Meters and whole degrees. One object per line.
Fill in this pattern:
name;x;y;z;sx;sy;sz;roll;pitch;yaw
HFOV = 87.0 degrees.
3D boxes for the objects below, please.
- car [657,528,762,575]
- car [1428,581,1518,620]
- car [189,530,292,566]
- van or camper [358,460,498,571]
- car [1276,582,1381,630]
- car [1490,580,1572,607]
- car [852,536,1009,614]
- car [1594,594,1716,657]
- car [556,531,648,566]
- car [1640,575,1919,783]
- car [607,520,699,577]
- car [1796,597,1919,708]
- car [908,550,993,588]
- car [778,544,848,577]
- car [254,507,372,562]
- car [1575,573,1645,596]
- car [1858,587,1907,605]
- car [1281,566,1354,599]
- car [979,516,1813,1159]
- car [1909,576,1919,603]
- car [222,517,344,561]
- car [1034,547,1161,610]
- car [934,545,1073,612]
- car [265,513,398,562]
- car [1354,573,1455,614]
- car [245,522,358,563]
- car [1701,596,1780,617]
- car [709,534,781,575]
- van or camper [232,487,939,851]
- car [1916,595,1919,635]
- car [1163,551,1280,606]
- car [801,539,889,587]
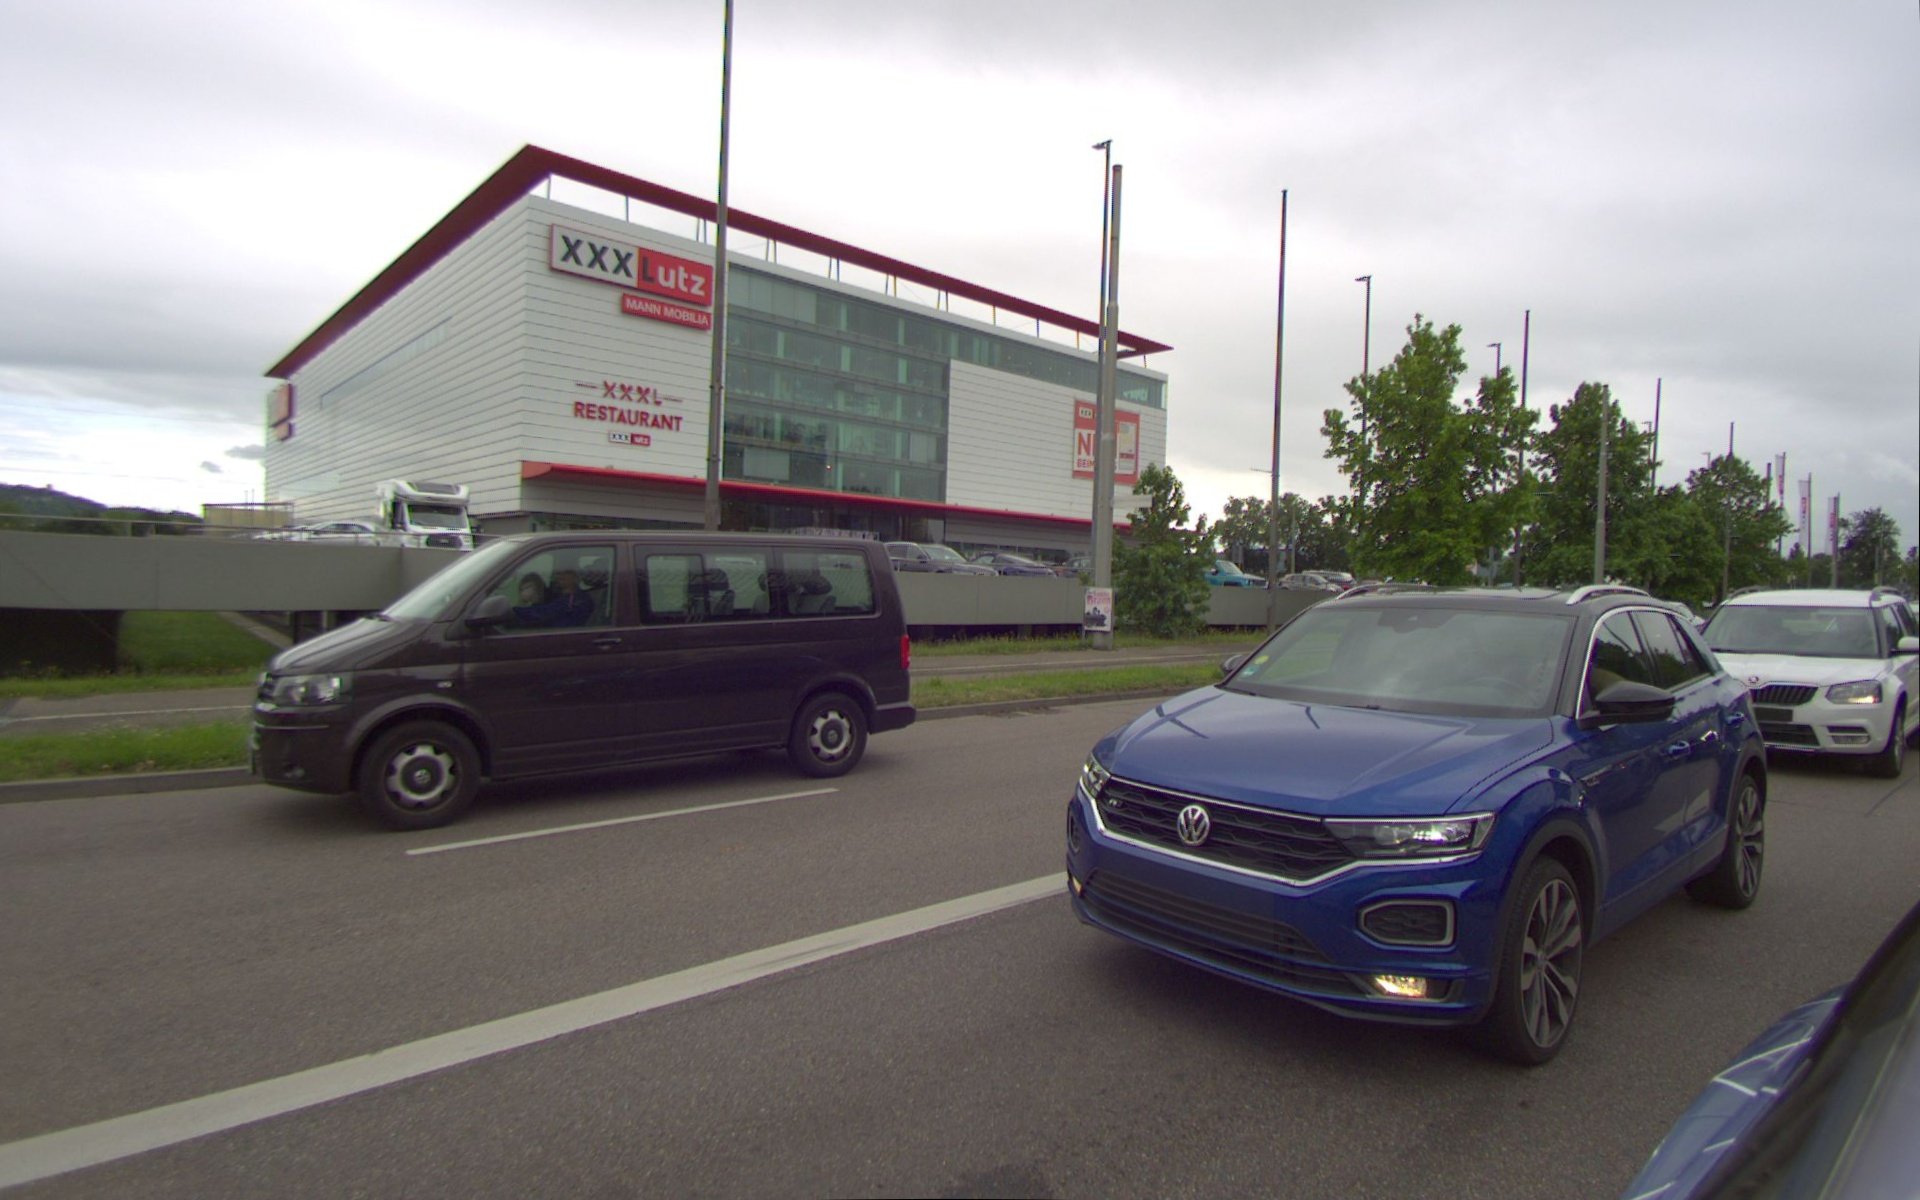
car;-8.719;-1.645;35.066;1.839;1.455;3.984;-1;1;-44
car;28.062;0.015;55.425;1.965;2.039;3.994;0;0;-41
car;-36.770;-2.629;51.783;4.185;1.697;1.774;-1;0;-41
van or camper;-17.990;-2.637;33.958;2.667;3.175;7.226;0;0;-40
car;16.418;0.229;45.190;1.966;2.039;3.991;0;0;-42
car;35.035;-0.412;62.154;1.765;1.585;3.994;-1;0;-40
car;-0.910;-0.672;28.658;1.967;2.039;4.522;0;0;-43
car;17.175;0.567;24.947;3.860;1.389;1.691;-1;1;-43
car;-18.712;-2.663;53.019;4.185;1.697;1.774;-1;0;-41
car;8.510;0.598;10.068;4.297;1.645;1.798;-1;0;-40
car;-11.702;-1.910;38.468;1.839;1.972;3.859;0;0;-44
car;13.953;0.684;14.955;4.145;1.433;1.800;-1;0;-41
car;-0.484;-1.455;48.965;1.967;1.761;3.991;-1;0;-43
car;-8.301;-2.190;56.991;1.967;1.761;3.991;-1;0;-43
car;-26.724;-2.665;41.867;3.929;2.039;1.998;-1;0;-40
car;47.509;-1.114;74.007;1.765;1.585;3.994;-1;0;-40
car;103.855;-0.437;113.999;3.987;1.819;1.969;3;1;44
car;22.900;-1.095;64.943;1.966;2.039;3.991;0;0;-42
car;2.286;0.582;4.676;4.255;1.642;1.845;-1;0;-40
car;83.678;-0.880;87.602;3.933;2.270;1.996;1;1;-44
car;-29.040;-2.590;43.489;4.185;1.697;1.774;-1;0;-41
car;4.655;-0.708;34.672;1.966;2.039;3.991;0;0;-42
car;1.269;-0.622;30.631;1.967;1.872;3.991;-1;0;-43
car;-24.305;-2.375;39.230;4.185;1.697;1.774;-1;0;-41
car;22.655;-0.331;51.644;1.966;2.039;4.317;0;0;-42
car;-30.166;-2.604;46.424;4.185;1.697;1.774;-1;0;-41
car;55.689;0.470;72.267;1.771;1.433;4.212;-1;1;-41
car;-11.356;-2.353;53.394;1.966;2.039;3.991;0;0;-42
van or camper;-2.751;0.359;8.024;4.852;2.039;2.163;-1;0;-38
car;41.856;0.618;42.644;4.297;1.645;1.798;-1;0;-40
car;10.082;-0.802;39.200;1.966;2.039;3.991;0;0;-42
car;-5.248;-1.629;45.744;1.965;2.039;4.174;0;0;-41
